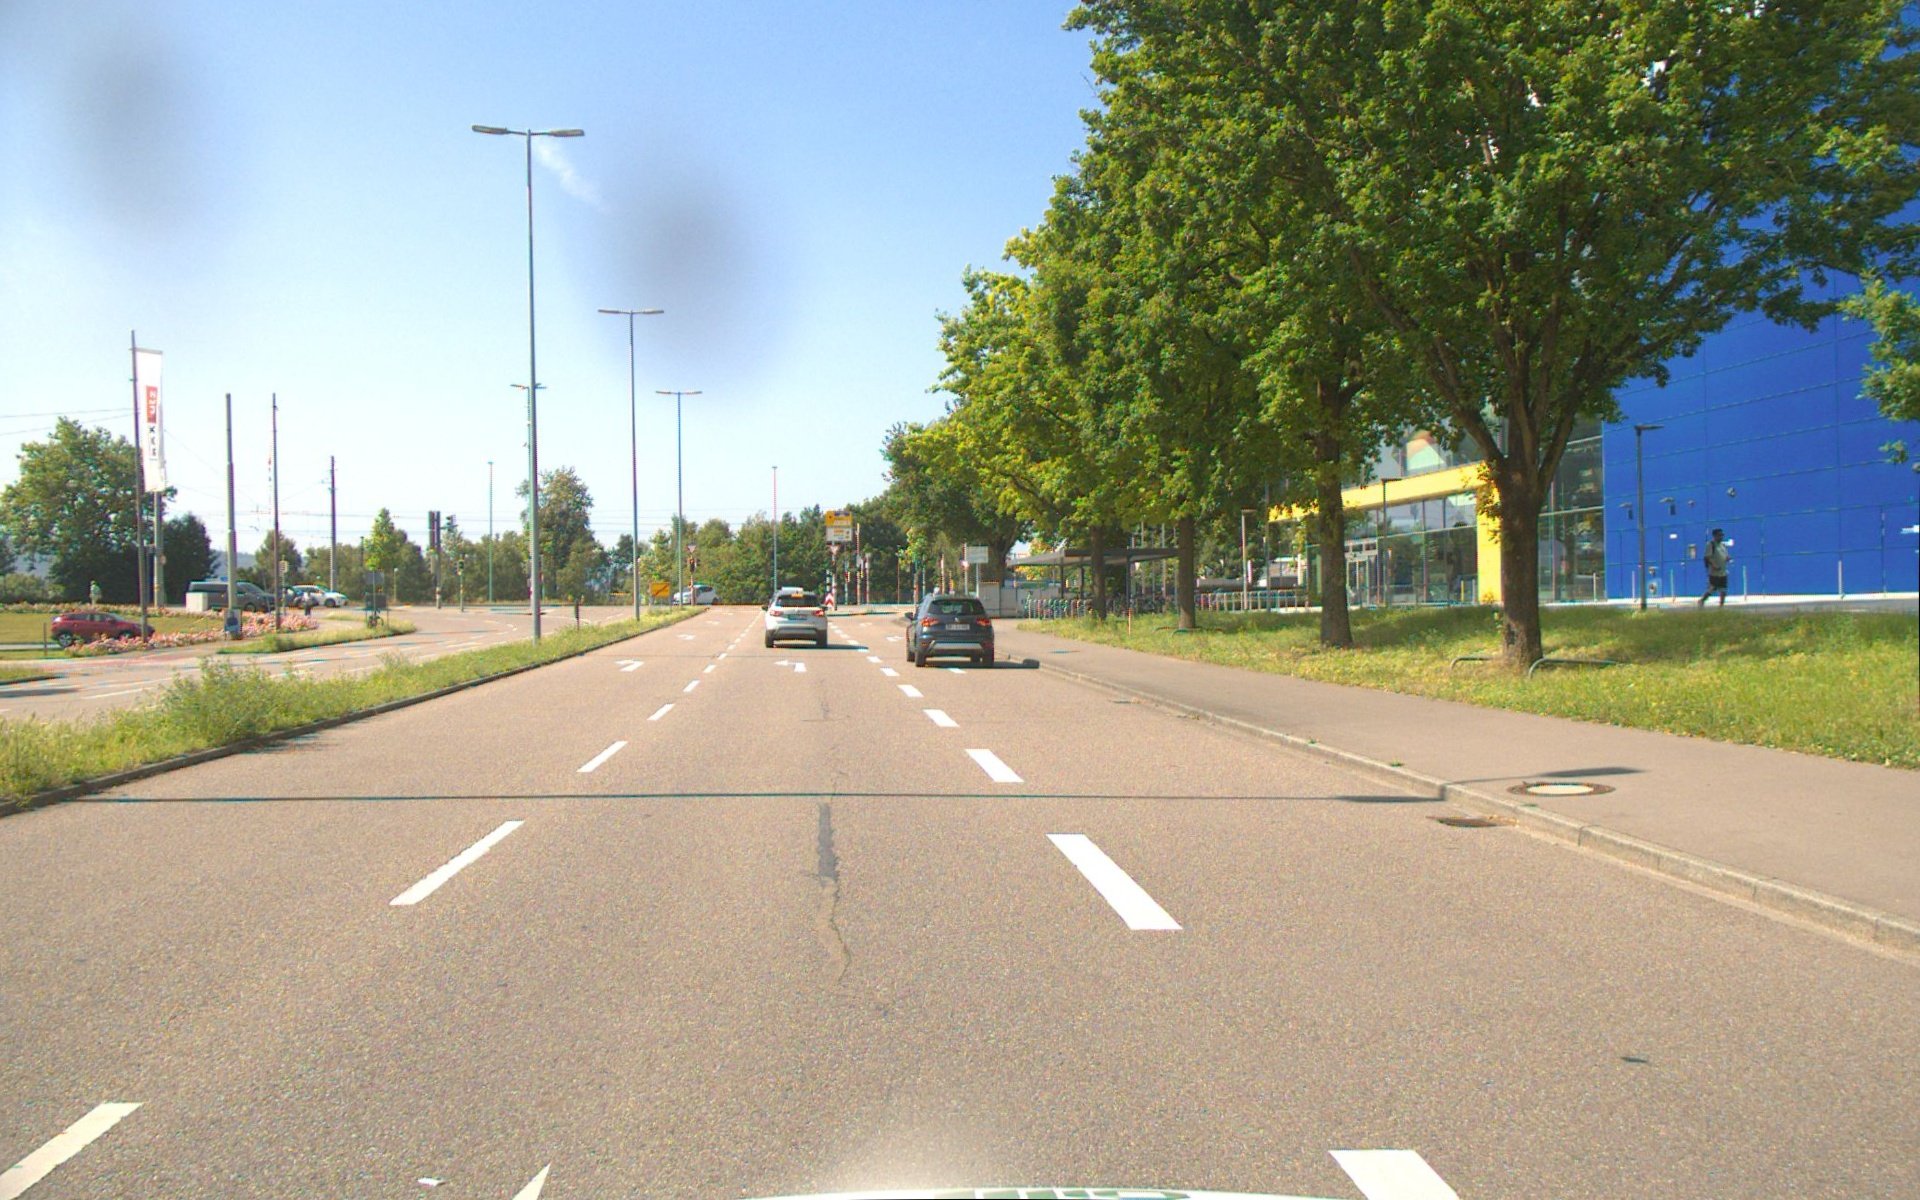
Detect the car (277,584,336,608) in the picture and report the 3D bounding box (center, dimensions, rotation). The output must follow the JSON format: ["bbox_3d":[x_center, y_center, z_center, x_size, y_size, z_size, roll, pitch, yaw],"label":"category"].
[{"bbox_3d":[-42.982,-0.252,108.825,3.323,1.526,1.407,-1,-1,-9],"label":"car"}]

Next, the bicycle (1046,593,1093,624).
[{"bbox_3d":[4.235,0.326,64.013,1.724,1.115,0.451,-1,0,-7],"label":"bicycle"}]

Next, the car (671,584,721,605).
[{"bbox_3d":[-20.313,-0.435,127.257,1.758,1.574,4.083,-1,0,26],"label":"car"}]

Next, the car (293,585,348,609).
[{"bbox_3d":[-43.554,-0.197,112.667,3.283,1.526,1.406,-1,-1,-11],"label":"car"}]

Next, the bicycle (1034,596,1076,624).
[{"bbox_3d":[3.975,0.405,69.228,1.724,1.115,0.451,-1,0,-7],"label":"bicycle"}]

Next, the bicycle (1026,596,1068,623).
[{"bbox_3d":[3.762,0.414,71.309,1.724,1.115,0.451,-1,0,-7],"label":"bicycle"}]

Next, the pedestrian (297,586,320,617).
[{"bbox_3d":[-36.987,0.100,93.900,0.822,1.736,0.906,-2,0,6],"label":"pedestrian"}]

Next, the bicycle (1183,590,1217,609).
[{"bbox_3d":[11.295,-0.030,77.974,1.530,0.858,0.433,-1,0,-2],"label":"bicycle"}]

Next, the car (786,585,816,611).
[{"bbox_3d":[-9.348,-0.130,96.942,1.708,1.473,4.383,0,0,-6],"label":"car"}]

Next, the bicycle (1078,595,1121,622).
[{"bbox_3d":[6.026,0.349,71.448,1.793,1.115,0.451,-1,0,-7],"label":"bicycle"}]

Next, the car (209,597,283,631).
[{"bbox_3d":[-43.766,0.826,101.349,3.902,1.959,1.818,1,1,15],"label":"car"}]

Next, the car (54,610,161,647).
[{"bbox_3d":[-39.898,1.339,77.492,4.108,1.634,1.821,-1,-1,-11],"label":"car"}]

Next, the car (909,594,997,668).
[{"bbox_3d":[-0.188,0.639,36.156,1.637,1.550,3.373,0,0,-5],"label":"car"}]

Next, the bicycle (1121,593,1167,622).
[{"bbox_3d":[7.279,0.292,65.321,1.724,1.115,0.451,-1,0,-7],"label":"bicycle"}]

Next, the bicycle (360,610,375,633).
[{"bbox_3d":[-27.429,0.992,76.590,0.324,1.040,1.640,-2,-1,-9],"label":"bicycle"}]

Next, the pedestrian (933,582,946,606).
[{"bbox_3d":[-1.367,-0.397,109.349,0.756,1.537,1.008,-1,1,5],"label":"pedestrian"}]

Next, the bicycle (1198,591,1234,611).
[{"bbox_3d":[11.637,0.036,75.214,1.531,0.858,0.433,-1,0,-5],"label":"bicycle"}]

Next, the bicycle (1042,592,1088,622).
[{"bbox_3d":[4.109,0.274,64.932,1.724,1.115,0.451,-1,0,-7],"label":"bicycle"}]

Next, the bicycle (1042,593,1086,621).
[{"bbox_3d":[4.246,0.273,67.759,1.724,1.115,0.451,-1,0,-7],"label":"bicycle"}]

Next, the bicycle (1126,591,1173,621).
[{"bbox_3d":[7.359,0.215,64.137,1.724,1.115,0.451,-1,0,-7],"label":"bicycle"}]

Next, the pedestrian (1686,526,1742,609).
[{"bbox_3d":[15.288,-0.650,33.536,0.675,1.640,0.769,-2,0,-10],"label":"pedestrian"}]

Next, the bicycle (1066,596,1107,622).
[{"bbox_3d":[5.562,0.402,72.642,1.724,1.115,0.451,-1,0,-7],"label":"bicycle"}]

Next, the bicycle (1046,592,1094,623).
[{"bbox_3d":[4.111,0.292,62.013,1.724,1.115,0.451,-2,0,-6],"label":"bicycle"}]

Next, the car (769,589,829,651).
[{"bbox_3d":[-4.515,0.530,46.458,1.599,1.524,3.866,0,2,-5],"label":"car"}]

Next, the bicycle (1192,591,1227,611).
[{"bbox_3d":[11.503,0.049,76.302,1.531,0.858,0.433,-1,0,-5],"label":"bicycle"}]

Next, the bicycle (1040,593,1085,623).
[{"bbox_3d":[4.050,0.319,65.479,1.724,1.115,0.451,-1,0,-7],"label":"bicycle"}]

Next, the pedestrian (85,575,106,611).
[{"bbox_3d":[-49.607,-0.387,94.908,0.701,2.006,0.917,-1,-1,-2],"label":"pedestrian"}]

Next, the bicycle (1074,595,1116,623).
[{"bbox_3d":[5.739,0.380,70.191,1.724,1.115,0.451,-1,0,-7],"label":"bicycle"}]
